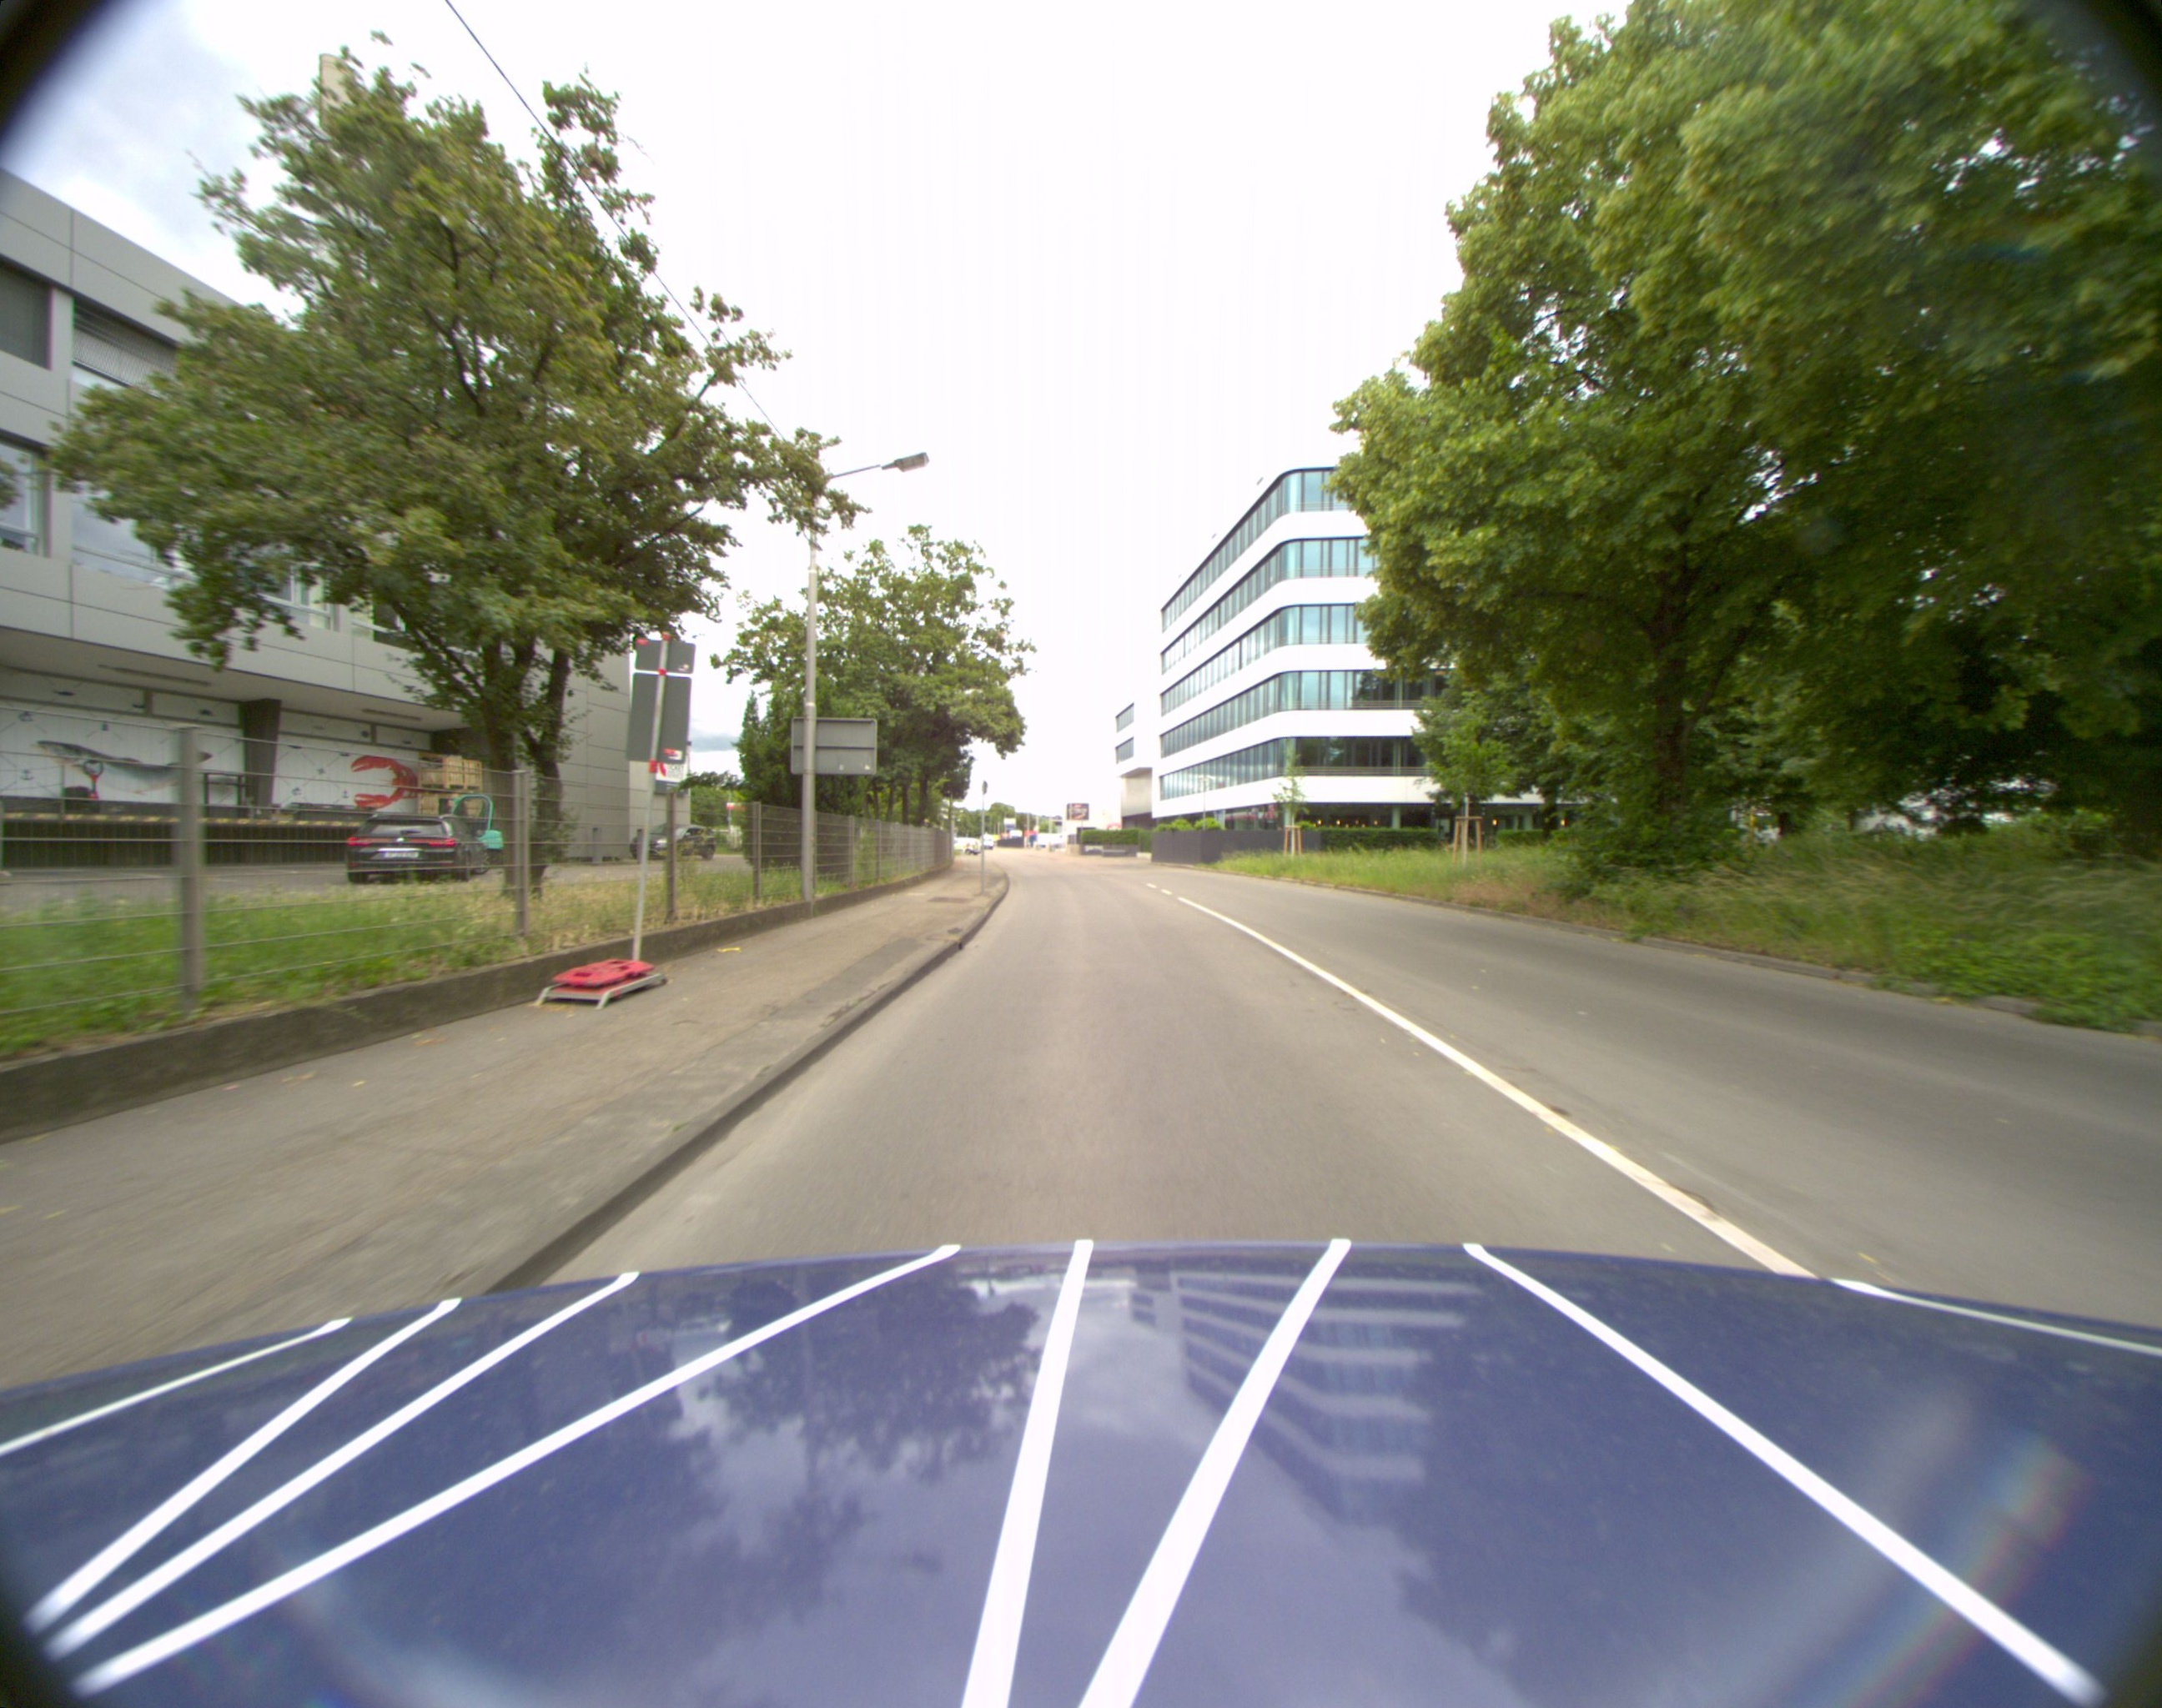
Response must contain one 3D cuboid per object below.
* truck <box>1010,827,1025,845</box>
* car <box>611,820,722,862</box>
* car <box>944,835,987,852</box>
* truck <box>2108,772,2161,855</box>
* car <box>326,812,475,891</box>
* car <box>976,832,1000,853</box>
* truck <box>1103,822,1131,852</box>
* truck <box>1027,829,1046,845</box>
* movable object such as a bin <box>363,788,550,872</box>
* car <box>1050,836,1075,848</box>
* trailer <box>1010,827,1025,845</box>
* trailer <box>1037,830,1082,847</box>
[{"bbox_3d":[-15.036,-4.243,179.632,3.369,4.136,5.623,2,1,-6],"label":"truck"},{"bbox_3d":[-17.616,-0.531,32.568,1.998,1.558,4.443,3,0,4],"label":"car"},{"bbox_3d":[-12.434,-1.119,81.931,4.196,1.754,1.816,0,2,18],"label":"car"},{"bbox_3d":[33.936,-1.198,19.136,2.979,2.507,10.252,1,1,6],"label":"truck"},{"bbox_3d":[-14.738,-0.126,16.362,4.678,1.465,2.004,3,2,43],"label":"car"},{"bbox_3d":[-16.259,-1.985,132.607,3.342,3.587,8.659,0,1,-13],"label":"car"},{"bbox_3d":[5.040,-2.298,105.189,2.746,4.008,7.098,0,1,11],"label":"truck"},{"bbox_3d":[-12.416,-4.635,210.607,4.882,4.109,3.045,2,1,-9],"label":"truck"},{"bbox_3d":[-18.425,-0.705,22.533,3.996,2.292,1.952,1,1,3],"label":"movable object such as a bin"},{"bbox_3d":[-4.312,-2.869,177.580,5.426,2.715,2.243,-1,0,10],"label":"car"},{"bbox_3d":[-15.719,-4.315,186.592,3.369,4.136,13.839,2,1,-6],"label":"trailer"},{"bbox_3d":[-5.928,-4.338,210.296,12.029,4.109,3.050,2,1,9],"label":"trailer"}]
